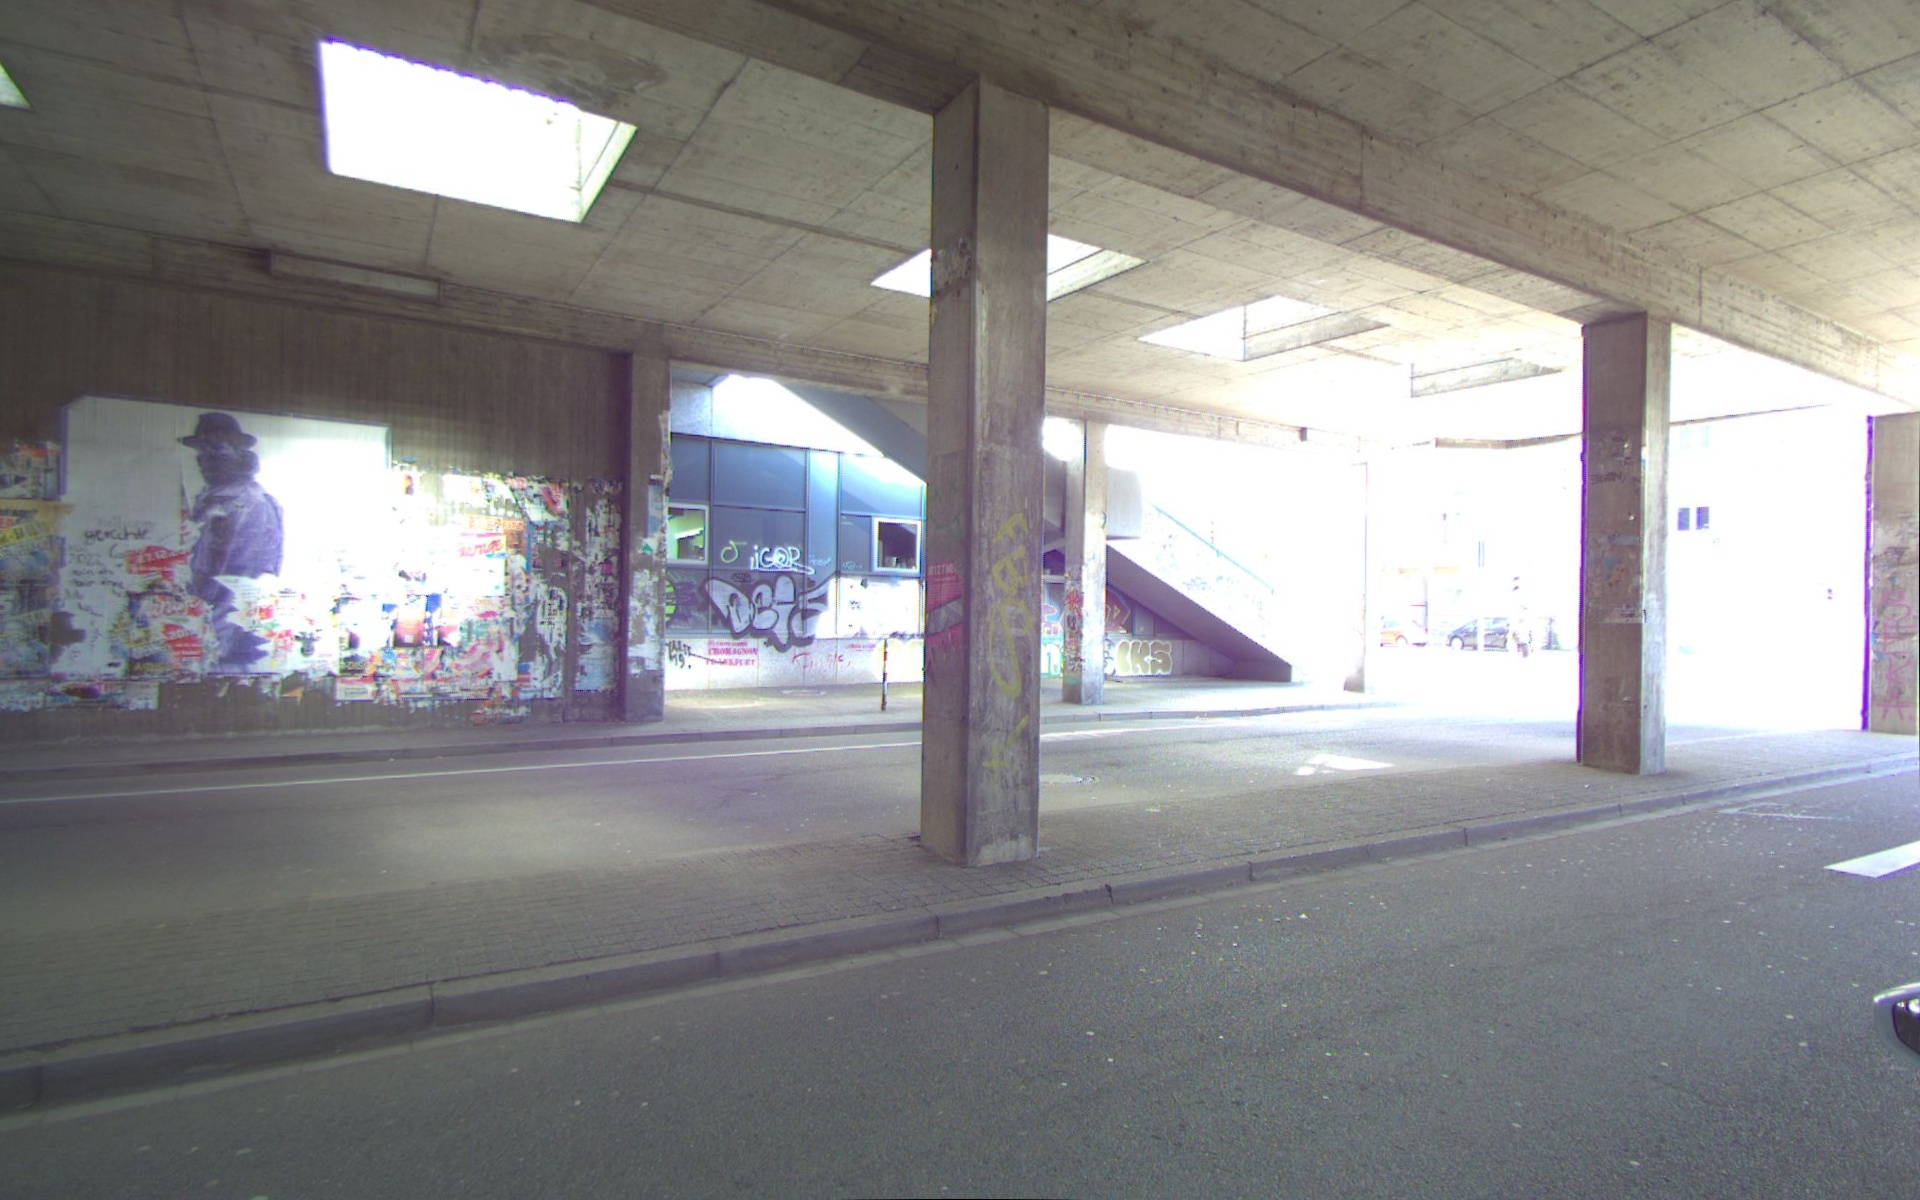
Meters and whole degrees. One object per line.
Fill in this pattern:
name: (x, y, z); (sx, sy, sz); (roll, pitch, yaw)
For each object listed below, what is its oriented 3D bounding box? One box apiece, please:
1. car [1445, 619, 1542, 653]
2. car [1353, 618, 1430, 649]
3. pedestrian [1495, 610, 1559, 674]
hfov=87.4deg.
car: (25.342, 1.684, 47.834); (1.732, 1.528, 3.735); (1, -1, -31)
car: (22.478, 1.734, 52.461); (1.543, 1.526, 3.518); (1, -1, -29)
pedestrian: (15.972, 1.179, 28.319); (1.123, 1.760, 1.111); (1, -1, -17)
